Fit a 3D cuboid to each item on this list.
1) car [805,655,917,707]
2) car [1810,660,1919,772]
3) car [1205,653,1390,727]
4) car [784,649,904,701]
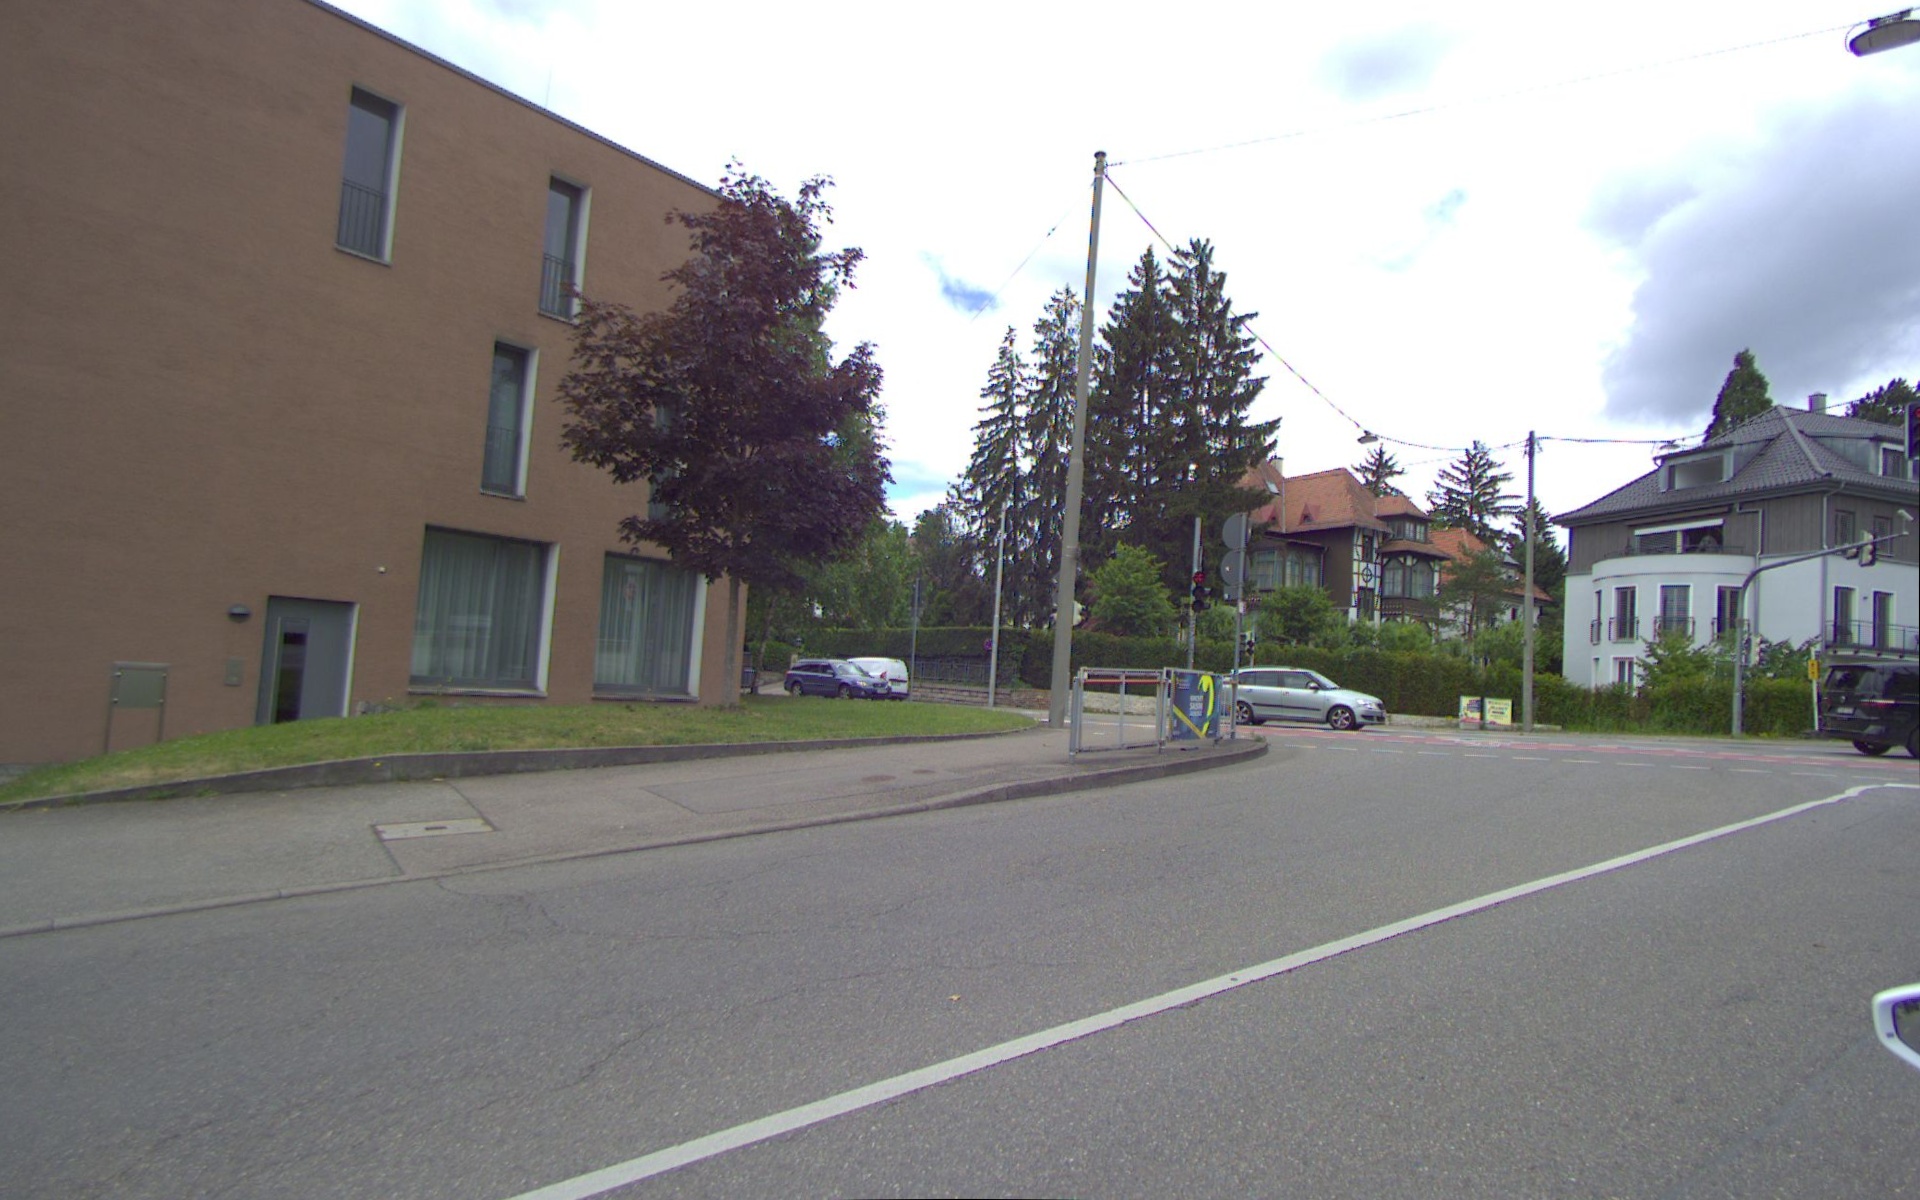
[{"bbox_3d":[-4.131,3.304,41.717,4.278,1.881,1.995,0,-2,32],"label":"car"},{"bbox_3d":[20.228,2.341,19.943,4.684,2.040,2.001,1,0,14],"label":"car"},{"bbox_3d":[8.431,2.185,25.175,4.122,1.496,1.709,1,0,31],"label":"car"},{"bbox_3d":[-4.203,2.669,35.980,4.346,1.705,1.903,-3,-7,45],"label":"car"}]
